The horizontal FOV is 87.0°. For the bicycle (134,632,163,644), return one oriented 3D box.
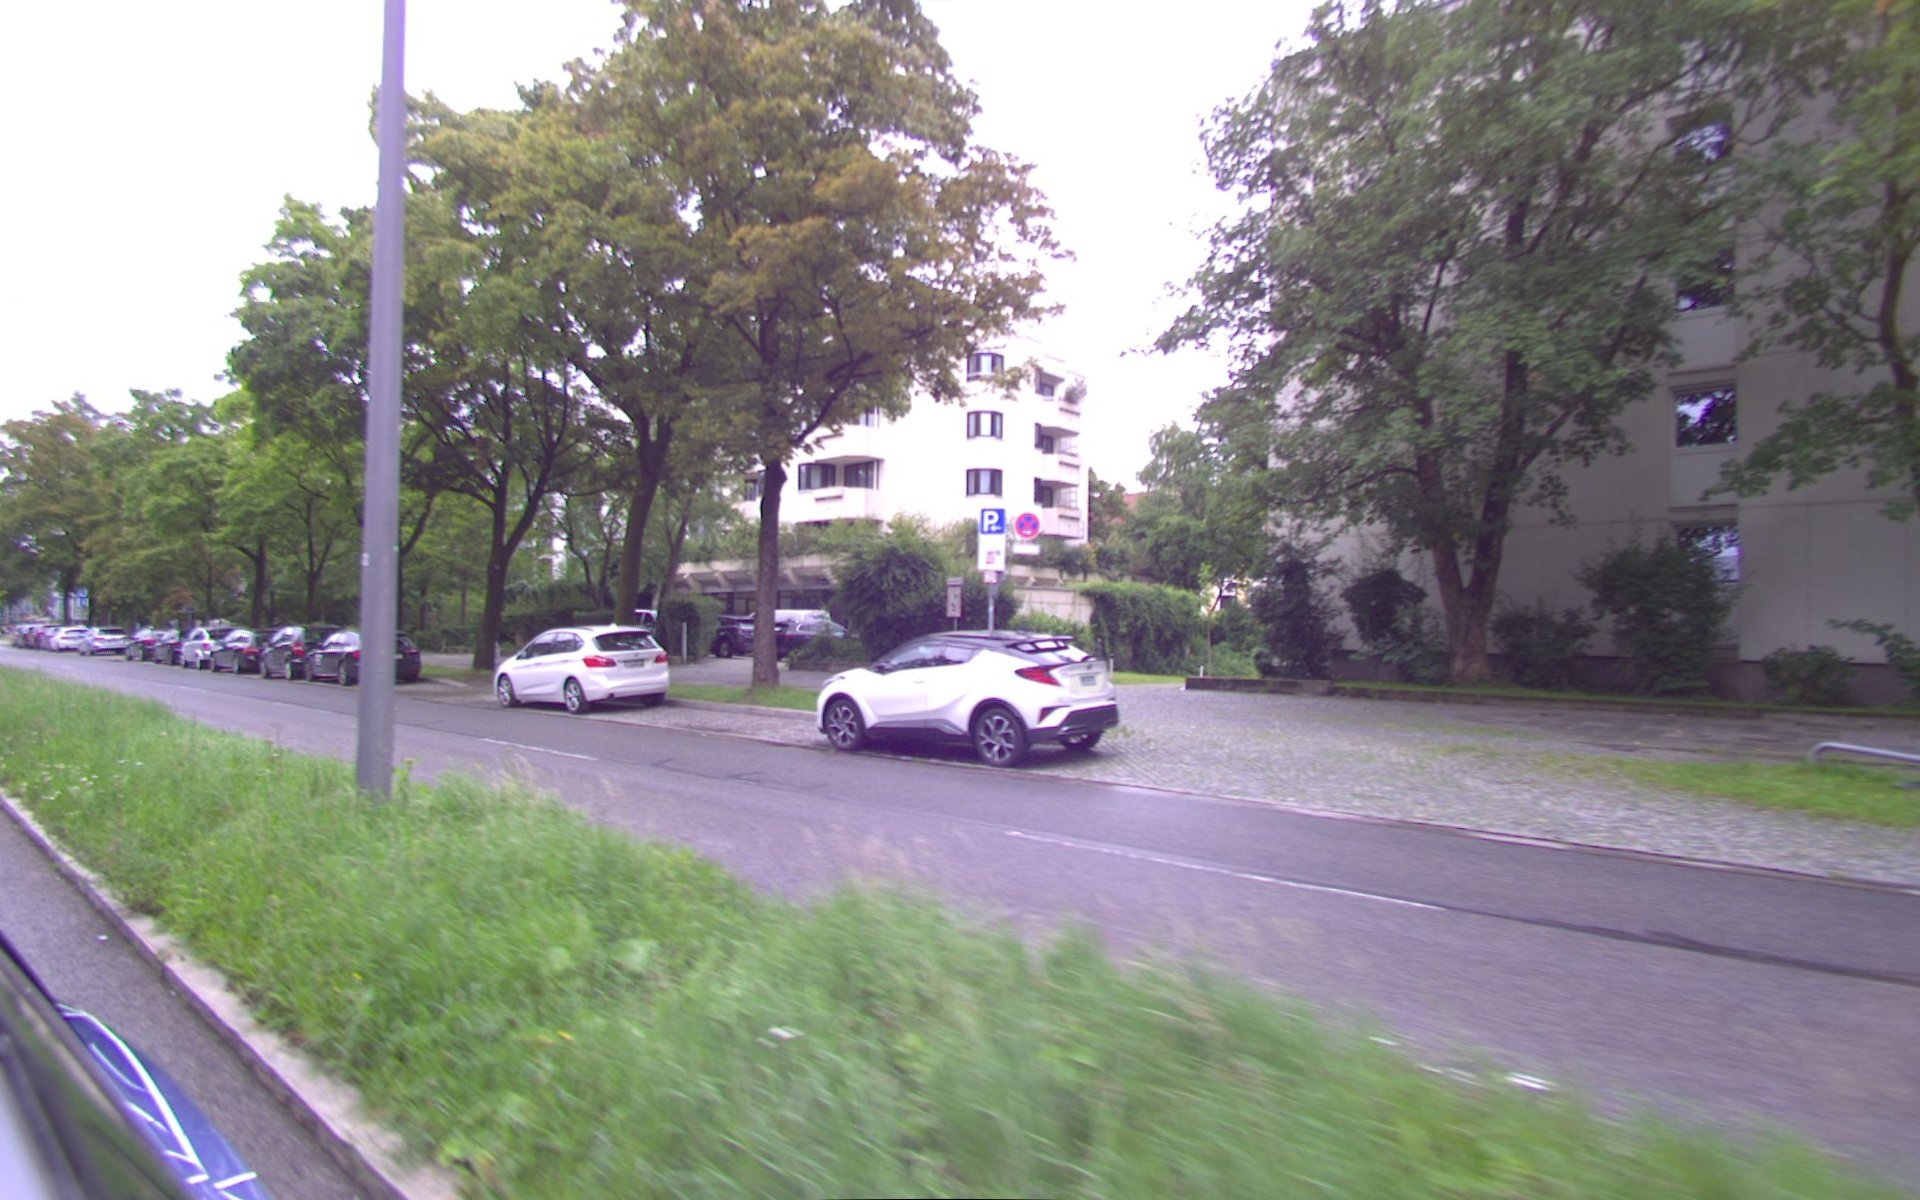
[{"bbox_3d":[-66.580,3.117,83.027,0.436,1.014,1.744,-2,-3,41],"label":"bicycle"}]

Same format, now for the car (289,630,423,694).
[{"bbox_3d":[-16.520,1.614,27.573,4.946,1.525,1.741,-2,0,42],"label":"car"}]

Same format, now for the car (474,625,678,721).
[{"bbox_3d":[-7.500,1.323,19.559,4.486,1.607,1.739,-2,0,40],"label":"car"}]

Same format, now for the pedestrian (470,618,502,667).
[{"bbox_3d":[-16.569,1.480,35.374,0.609,1.669,0.839,-2,-3,44],"label":"pedestrian"}]

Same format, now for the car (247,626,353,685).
[{"bbox_3d":[-20.073,1.627,30.730,4.209,1.609,1.668,-2,0,42],"label":"car"}]

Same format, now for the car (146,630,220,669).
[{"bbox_3d":[-31.445,1.974,40.917,4.191,1.434,1.608,-2,0,42],"label":"car"}]

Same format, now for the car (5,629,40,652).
[{"bbox_3d":[-68.637,2.953,74.083,3.819,1.626,1.629,-2,-1,43],"label":"car"}]

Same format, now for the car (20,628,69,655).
[{"bbox_3d":[-60.283,2.711,66.601,4.602,1.664,1.721,-2,0,40],"label":"car"}]

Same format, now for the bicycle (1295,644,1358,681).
[{"bbox_3d":[9.362,1.596,25.881,1.450,0.907,0.453,-1,-3,41],"label":"bicycle"}]

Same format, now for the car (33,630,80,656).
[{"bbox_3d":[-56.519,2.656,63.291,4.332,1.494,1.720,-2,0,42],"label":"car"}]

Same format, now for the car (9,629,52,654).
[{"bbox_3d":[-64.622,2.862,70.353,4.683,1.656,1.720,-2,-1,42],"label":"car"}]

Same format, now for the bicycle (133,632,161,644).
[{"bbox_3d":[-67.029,3.146,83.413,0.436,1.014,1.744,-2,-3,41],"label":"bicycle"}]

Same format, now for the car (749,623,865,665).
[{"bbox_3d":[-5.466,1.568,36.578,1.861,1.429,3.937,-2,-2,39],"label":"car"}]

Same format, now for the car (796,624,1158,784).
[{"bbox_3d":[0.068,1.157,12.841,4.490,1.621,1.813,-2,0,42],"label":"car"}]

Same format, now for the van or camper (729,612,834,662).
[{"bbox_3d":[-7.273,1.489,40.995,4.430,1.885,1.837,-2,-2,42],"label":"van or camper"}]

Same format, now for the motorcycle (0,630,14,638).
[{"bbox_3d":[-143.156,5.039,151.853,0.463,1.179,1.792,-1,-2,36],"label":"motorcycle"}]

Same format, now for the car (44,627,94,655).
[{"bbox_3d":[-52.660,2.386,59.797,4.473,1.541,1.720,-2,-1,42],"label":"car"}]

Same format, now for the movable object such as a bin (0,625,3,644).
[{"bbox_3d":[-100.733,3.579,104.425,3.991,1.968,2.174,-1,-3,35],"label":"movable object such as a bin"}]

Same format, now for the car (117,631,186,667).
[{"bbox_3d":[-35.653,2.118,44.594,4.360,1.434,1.564,-2,0,41],"label":"car"}]

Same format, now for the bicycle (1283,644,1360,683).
[{"bbox_3d":[9.043,1.574,25.339,1.765,0.907,0.472,-1,-3,41],"label":"bicycle"}]

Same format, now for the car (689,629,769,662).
[{"bbox_3d":[-8.800,1.716,38.473,3.126,1.209,1.440,-2,-2,42],"label":"car"}]

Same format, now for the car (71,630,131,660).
[{"bbox_3d":[-45.393,2.327,53.451,4.820,1.459,1.718,-2,0,41],"label":"car"}]

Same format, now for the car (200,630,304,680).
[{"bbox_3d":[-24.088,1.814,34.352,5.031,1.536,1.698,-2,0,41],"label":"car"}]

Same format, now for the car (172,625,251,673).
[{"bbox_3d":[-28.088,1.795,37.944,3.866,1.660,1.608,-2,0,42],"label":"car"}]
